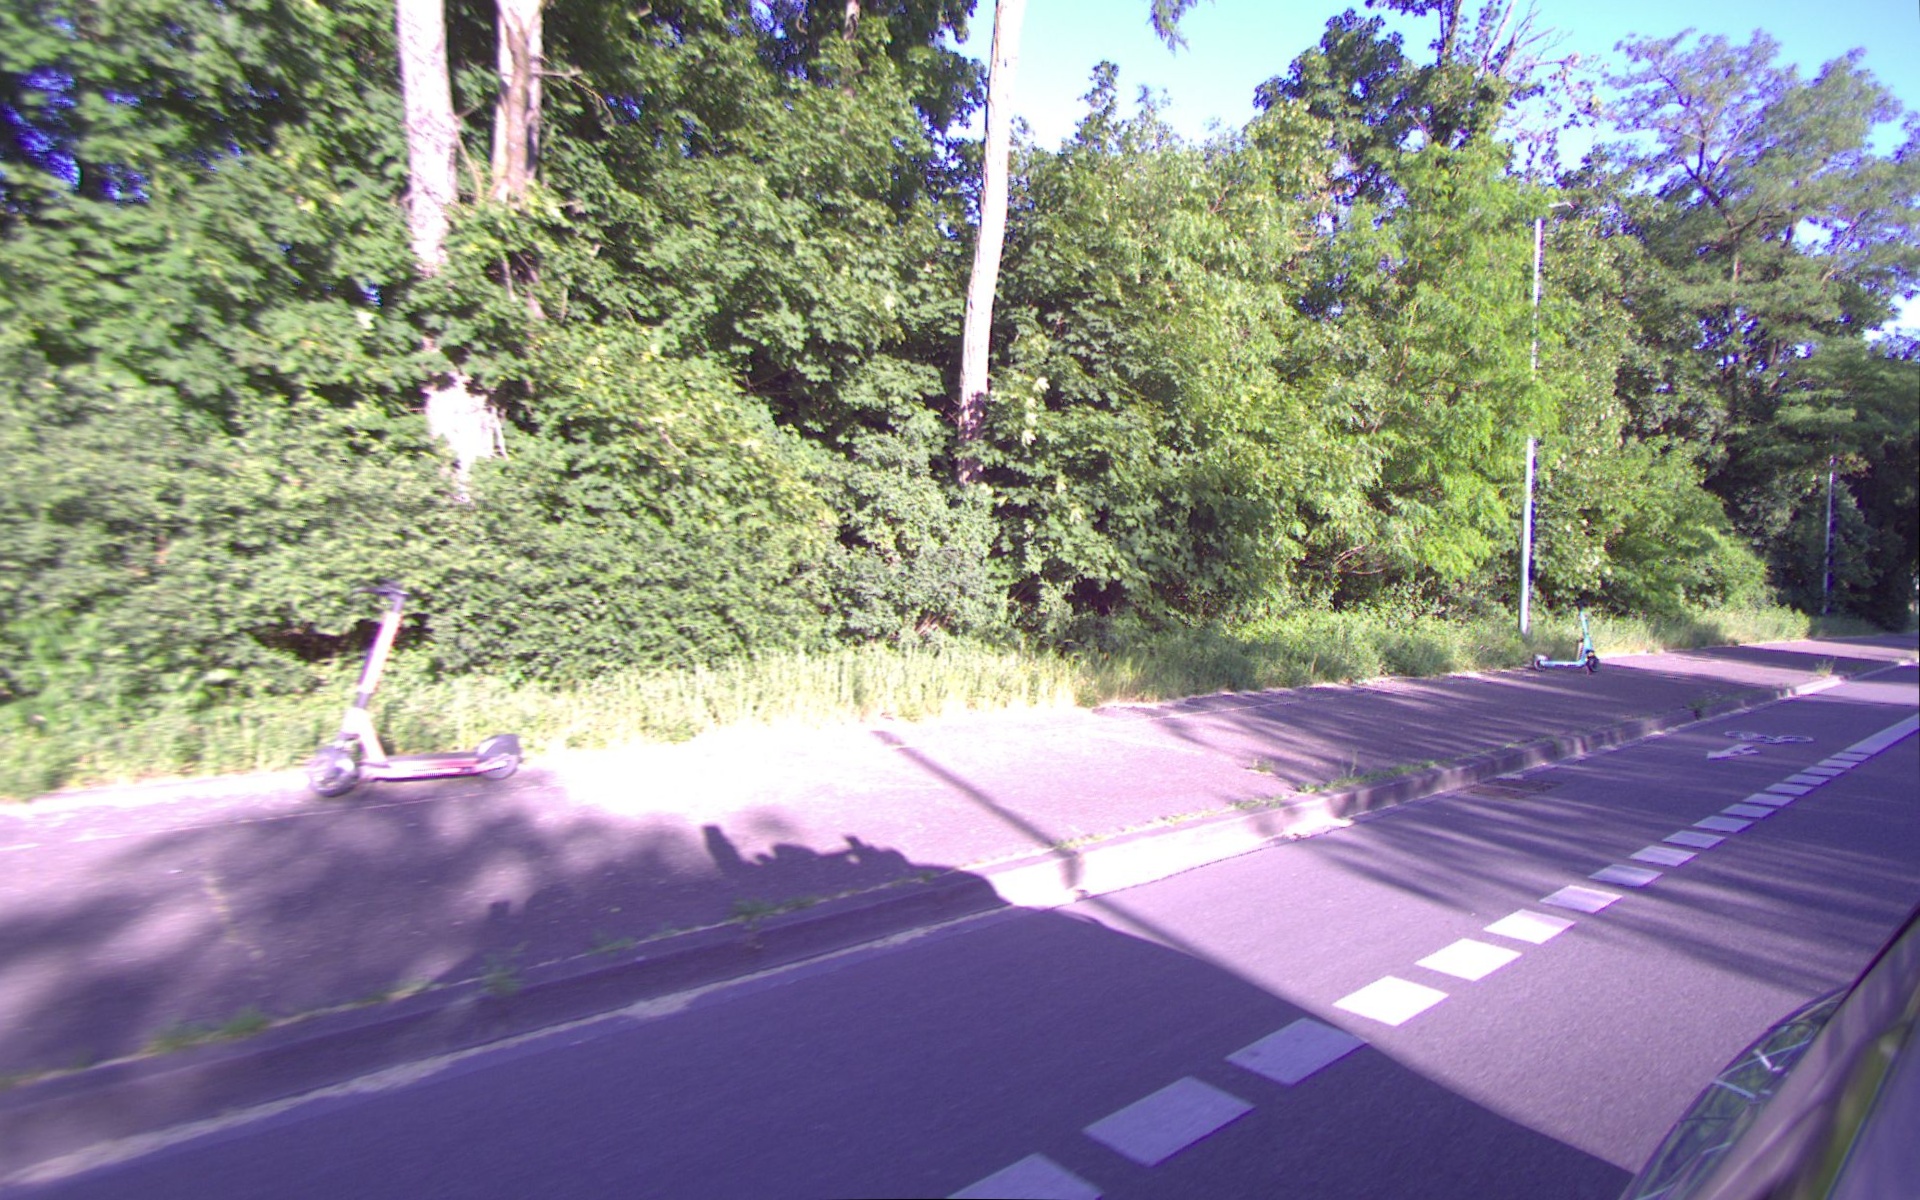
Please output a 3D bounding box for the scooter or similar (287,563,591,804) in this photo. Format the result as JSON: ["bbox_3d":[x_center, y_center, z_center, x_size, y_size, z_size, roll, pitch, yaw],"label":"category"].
[{"bbox_3d":[-3.063,0.434,6.028,1.514,1.265,0.534,0,2,-41],"label":"scooter or similar"}]

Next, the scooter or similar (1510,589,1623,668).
[{"bbox_3d":[10.353,0.477,17.321,1.515,1.265,0.534,2,2,7],"label":"scooter or similar"}]
